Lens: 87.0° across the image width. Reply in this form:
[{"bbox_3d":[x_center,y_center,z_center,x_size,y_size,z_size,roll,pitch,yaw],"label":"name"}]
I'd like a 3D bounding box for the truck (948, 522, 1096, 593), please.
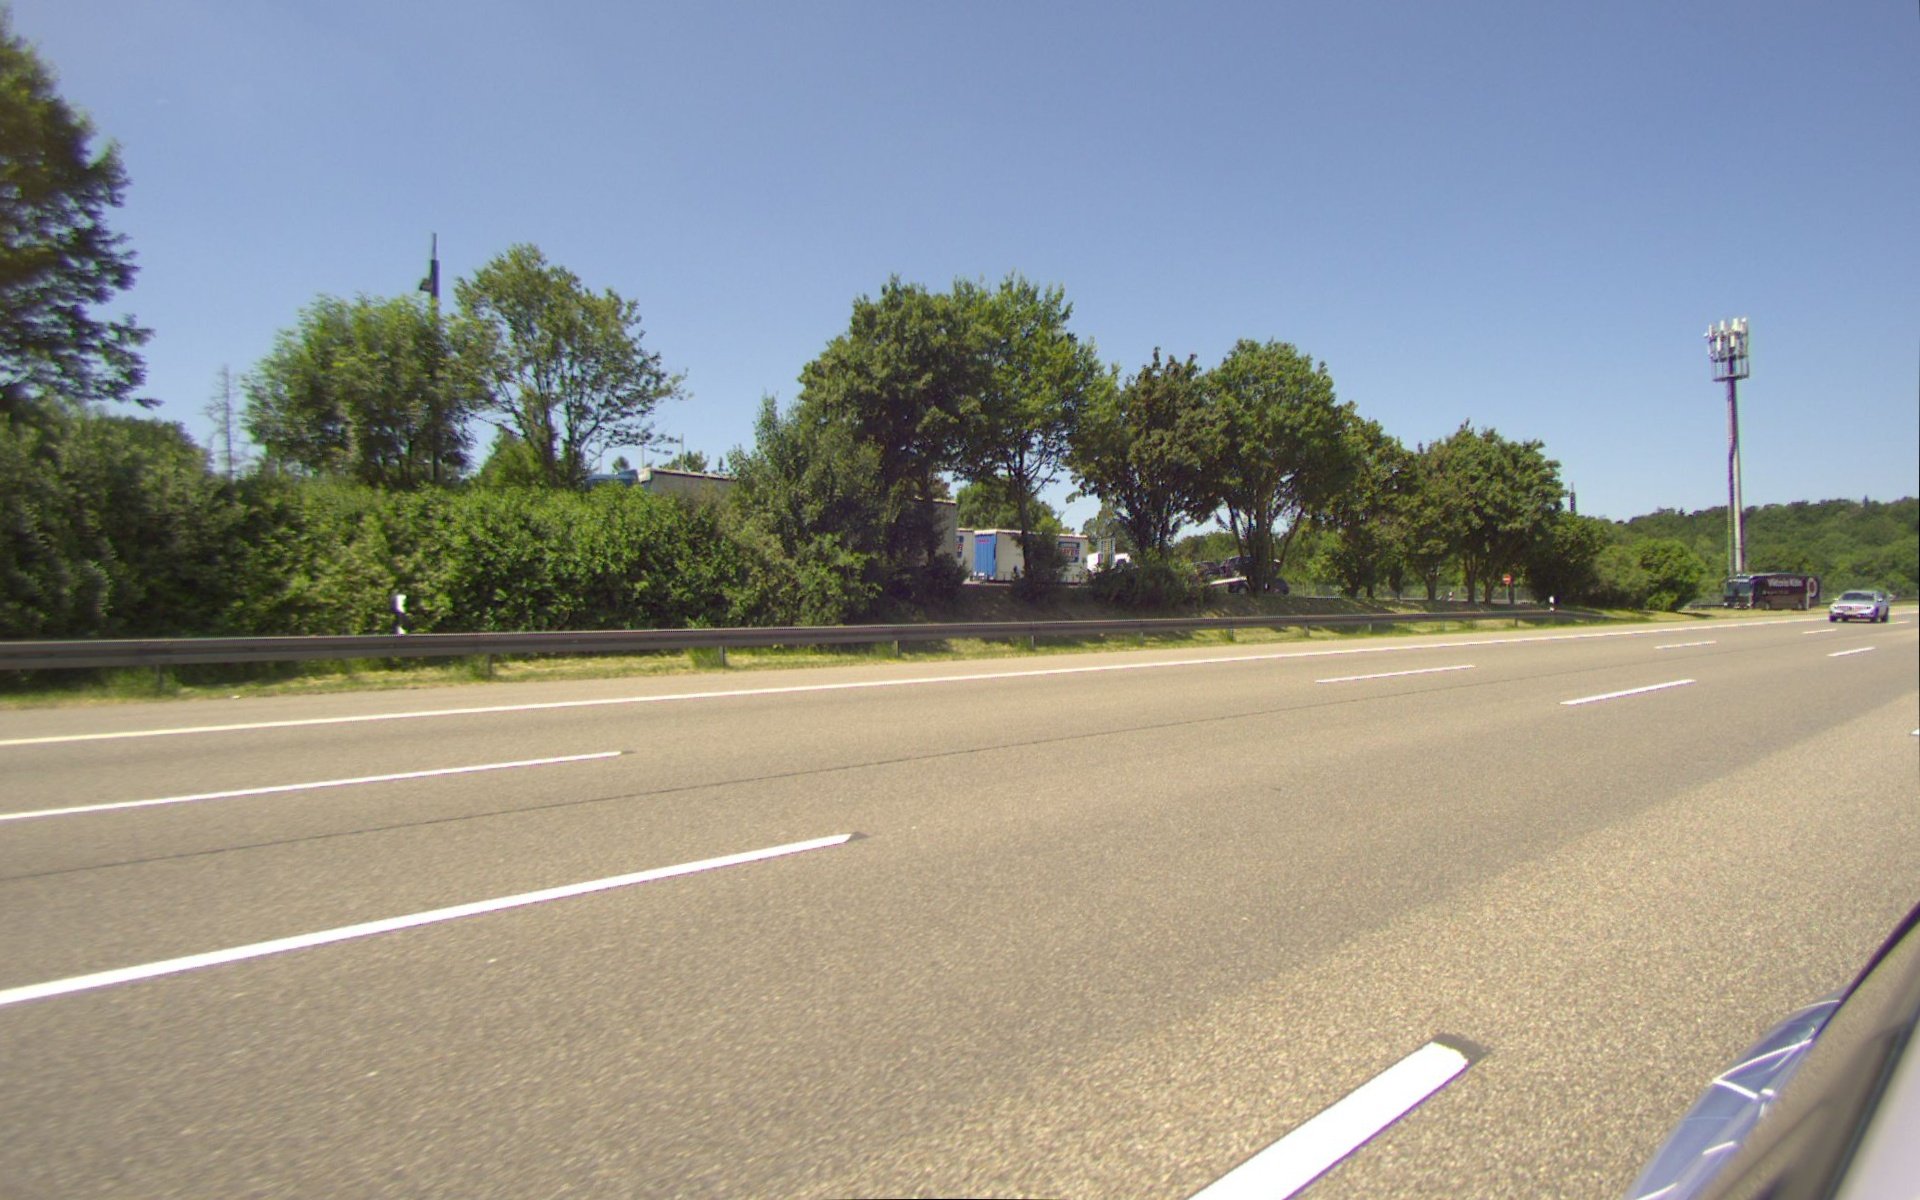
[{"bbox_3d":[3.803,-2.471,60.573,9.092,3.926,2.973,-1,0,-37],"label":"truck"}]

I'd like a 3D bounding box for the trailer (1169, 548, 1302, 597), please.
[{"bbox_3d":[21.962,-2.186,81.112,9.932,3.764,2.242,-1,0,3],"label":"trailer"}]

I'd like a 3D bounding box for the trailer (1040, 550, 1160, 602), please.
[{"bbox_3d":[11.234,-1.964,81.858,9.427,4.087,2.312,1,0,6],"label":"trailer"}]

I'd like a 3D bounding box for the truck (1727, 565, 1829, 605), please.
[{"bbox_3d":[78.671,-1.492,97.203,12.072,3.616,2.758,-1,0,-26],"label":"truck"}]

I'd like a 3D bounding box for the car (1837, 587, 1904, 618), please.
[{"bbox_3d":[47.077,0.111,52.311,3.928,1.549,1.998,-1,1,-39],"label":"car"}]

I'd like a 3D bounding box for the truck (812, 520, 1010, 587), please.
[{"bbox_3d":[-4.046,-3.774,84.039,16.081,5.051,2.958,-1,0,9],"label":"truck"}]

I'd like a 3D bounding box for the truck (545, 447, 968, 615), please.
[{"bbox_3d":[-7.039,-2.204,38.829,16.087,5.388,3.528,0,-1,-38],"label":"truck"}]

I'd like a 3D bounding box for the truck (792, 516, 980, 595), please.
[{"bbox_3d":[-3.841,-2.329,54.733,10.197,3.904,2.941,-1,0,-37],"label":"truck"}]
